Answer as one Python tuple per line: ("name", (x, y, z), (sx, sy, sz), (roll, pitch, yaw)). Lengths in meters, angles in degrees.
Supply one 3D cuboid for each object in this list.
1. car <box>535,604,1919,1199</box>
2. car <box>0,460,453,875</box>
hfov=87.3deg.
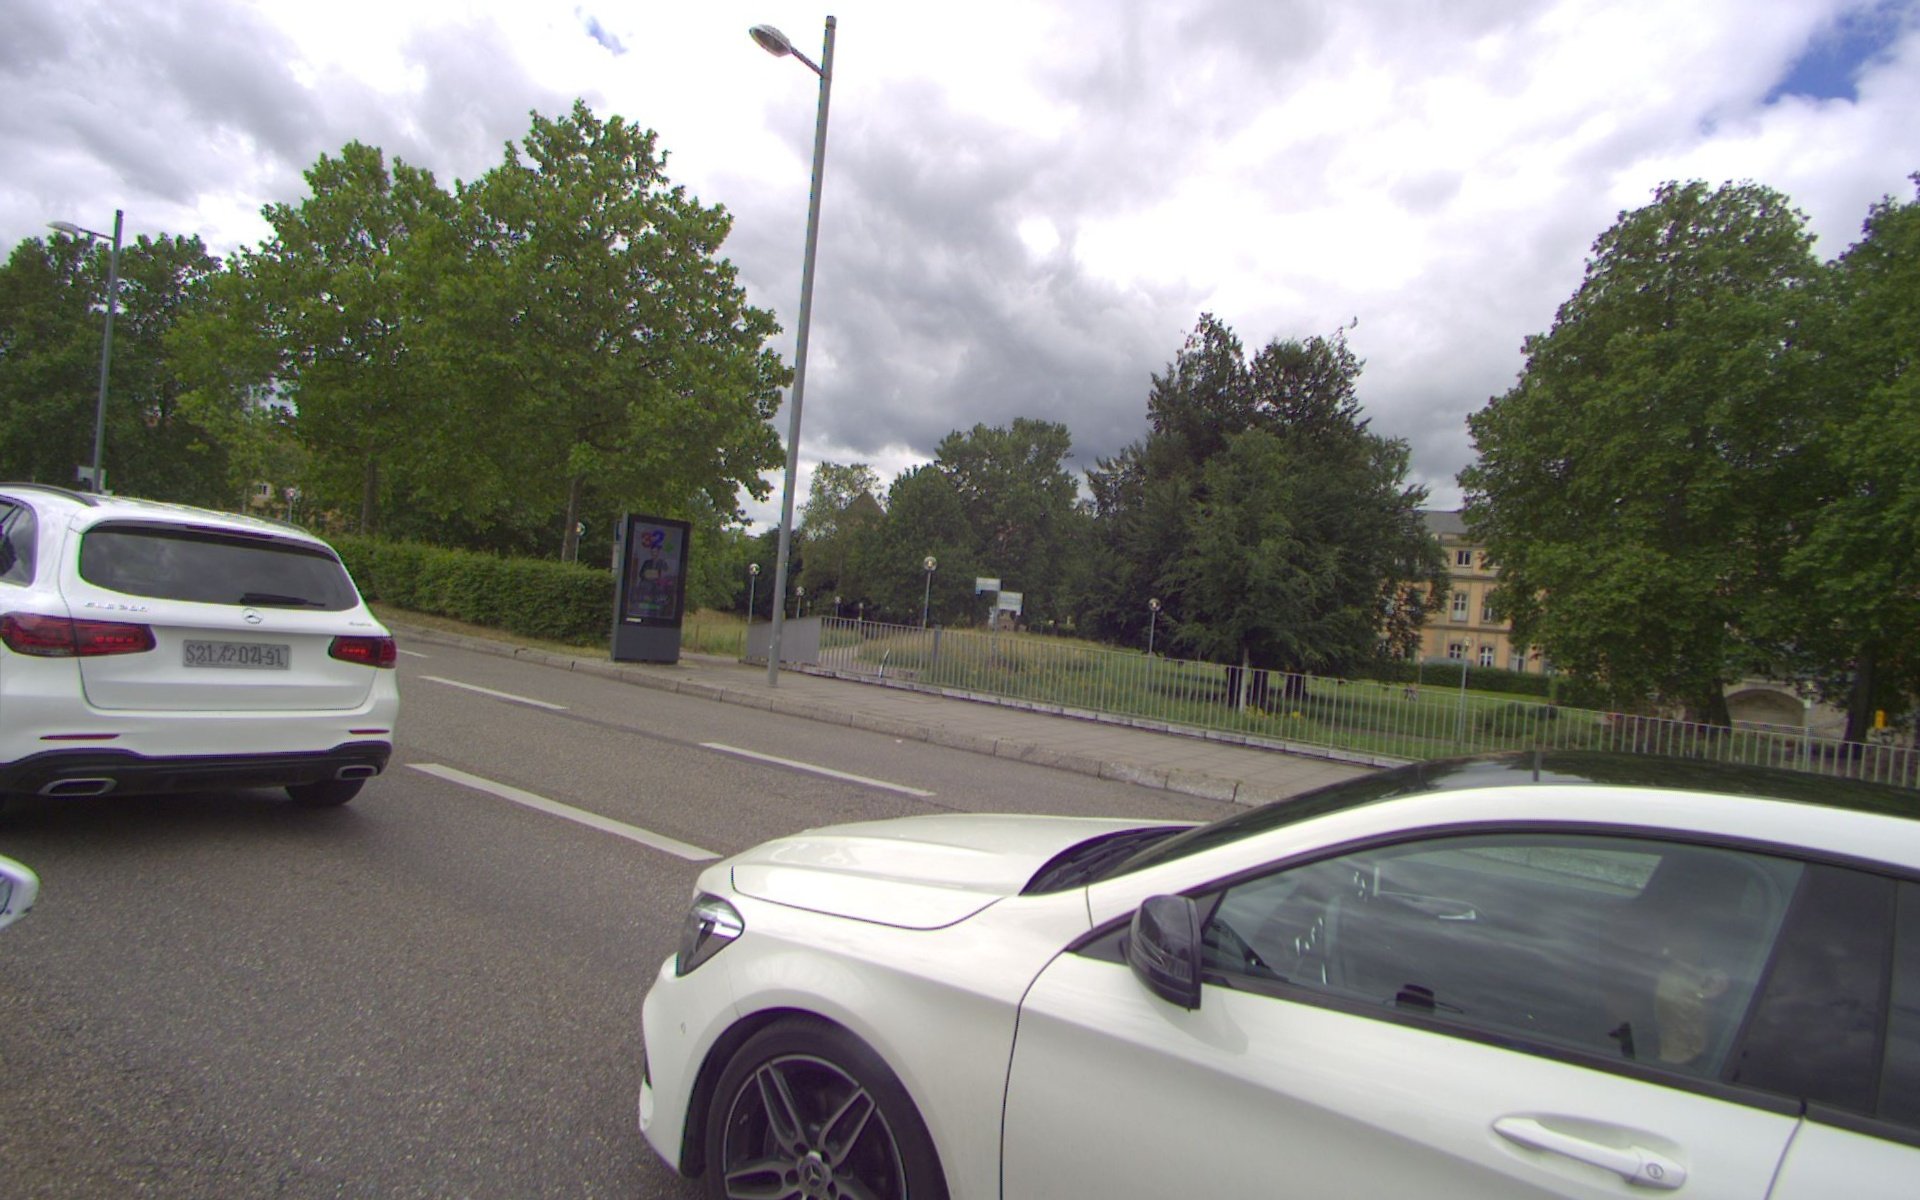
("car", (1.313, 1.002, 2.120), (4.432, 1.440, 1.722), (6, -2, 32))
("car", (-5.155, 0.152, 5.924), (4.307, 1.667, 1.821), (7, -1, 33))
